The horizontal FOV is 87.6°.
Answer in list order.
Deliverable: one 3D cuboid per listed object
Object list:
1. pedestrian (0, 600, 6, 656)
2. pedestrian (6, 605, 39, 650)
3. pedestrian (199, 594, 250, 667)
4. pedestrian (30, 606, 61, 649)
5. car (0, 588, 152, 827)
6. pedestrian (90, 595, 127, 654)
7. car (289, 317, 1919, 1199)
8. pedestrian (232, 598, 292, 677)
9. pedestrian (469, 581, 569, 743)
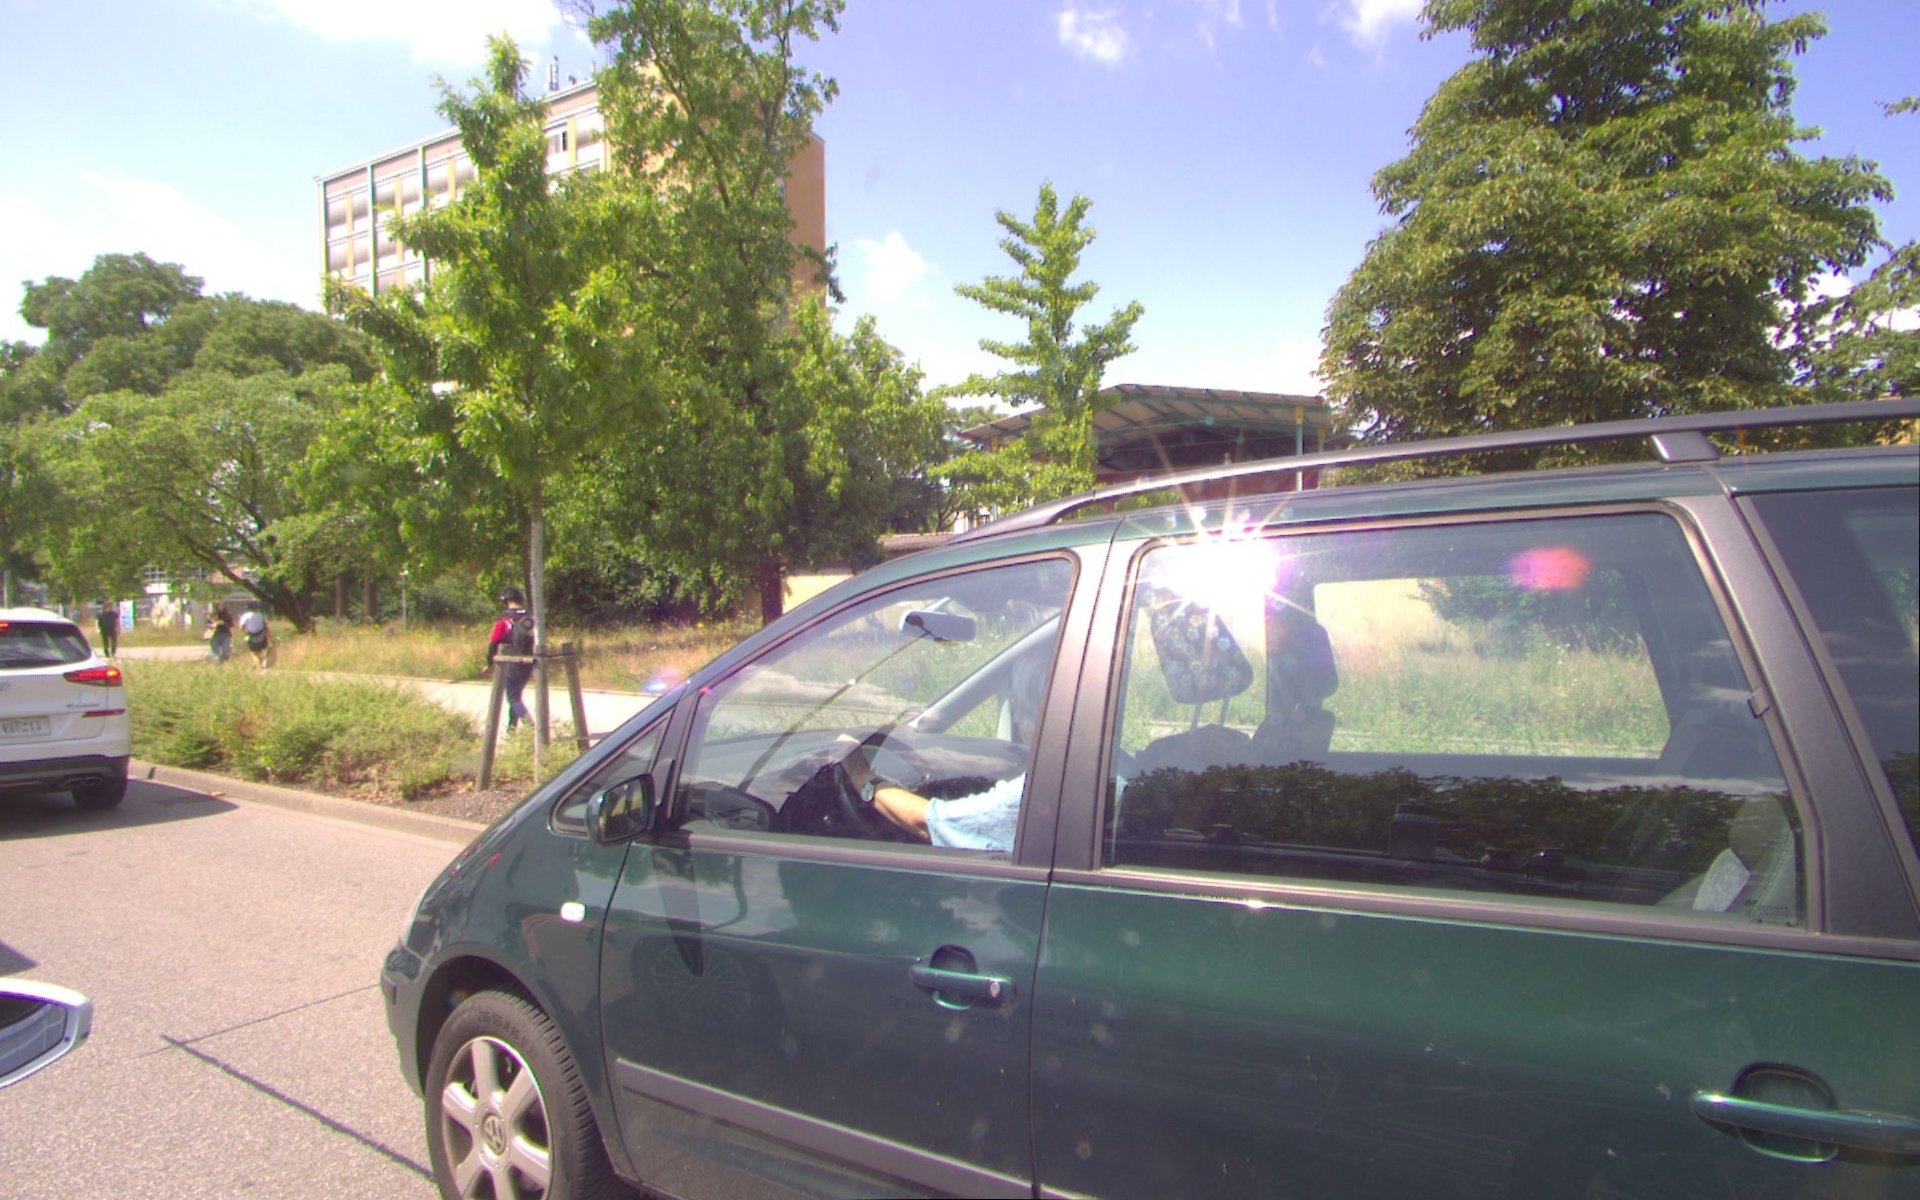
[{"bbox_3d":[-32.943,0.946,33.936,0.805,1.874,0.756,0,1,36],"label":"pedestrian"},{"bbox_3d":[-40.014,1.166,42.729,0.802,1.874,0.759,0,1,22],"label":"pedestrian"},{"bbox_3d":[-17.360,0.704,23.644,0.805,1.677,0.756,0,1,36],"label":"pedestrian"},{"bbox_3d":[-39.790,1.194,43.571,0.803,1.874,0.759,0,1,24],"label":"pedestrian"},{"bbox_3d":[-8.455,0.775,8.187,3.919,1.701,1.810,0,0,34],"label":"car"},{"bbox_3d":[-26.256,0.748,30.882,0.806,1.813,0.755,0,0,40],"label":"pedestrian"},{"bbox_3d":[0.538,0.630,2.276,4.329,1.737,1.799,0,-2,32],"label":"car"},{"bbox_3d":[-14.303,0.751,20.525,0.805,1.578,0.757,0,1,34],"label":"pedestrian"},{"bbox_3d":[-4.881,0.659,11.079,0.807,1.706,0.754,0,1,44],"label":"pedestrian"}]
